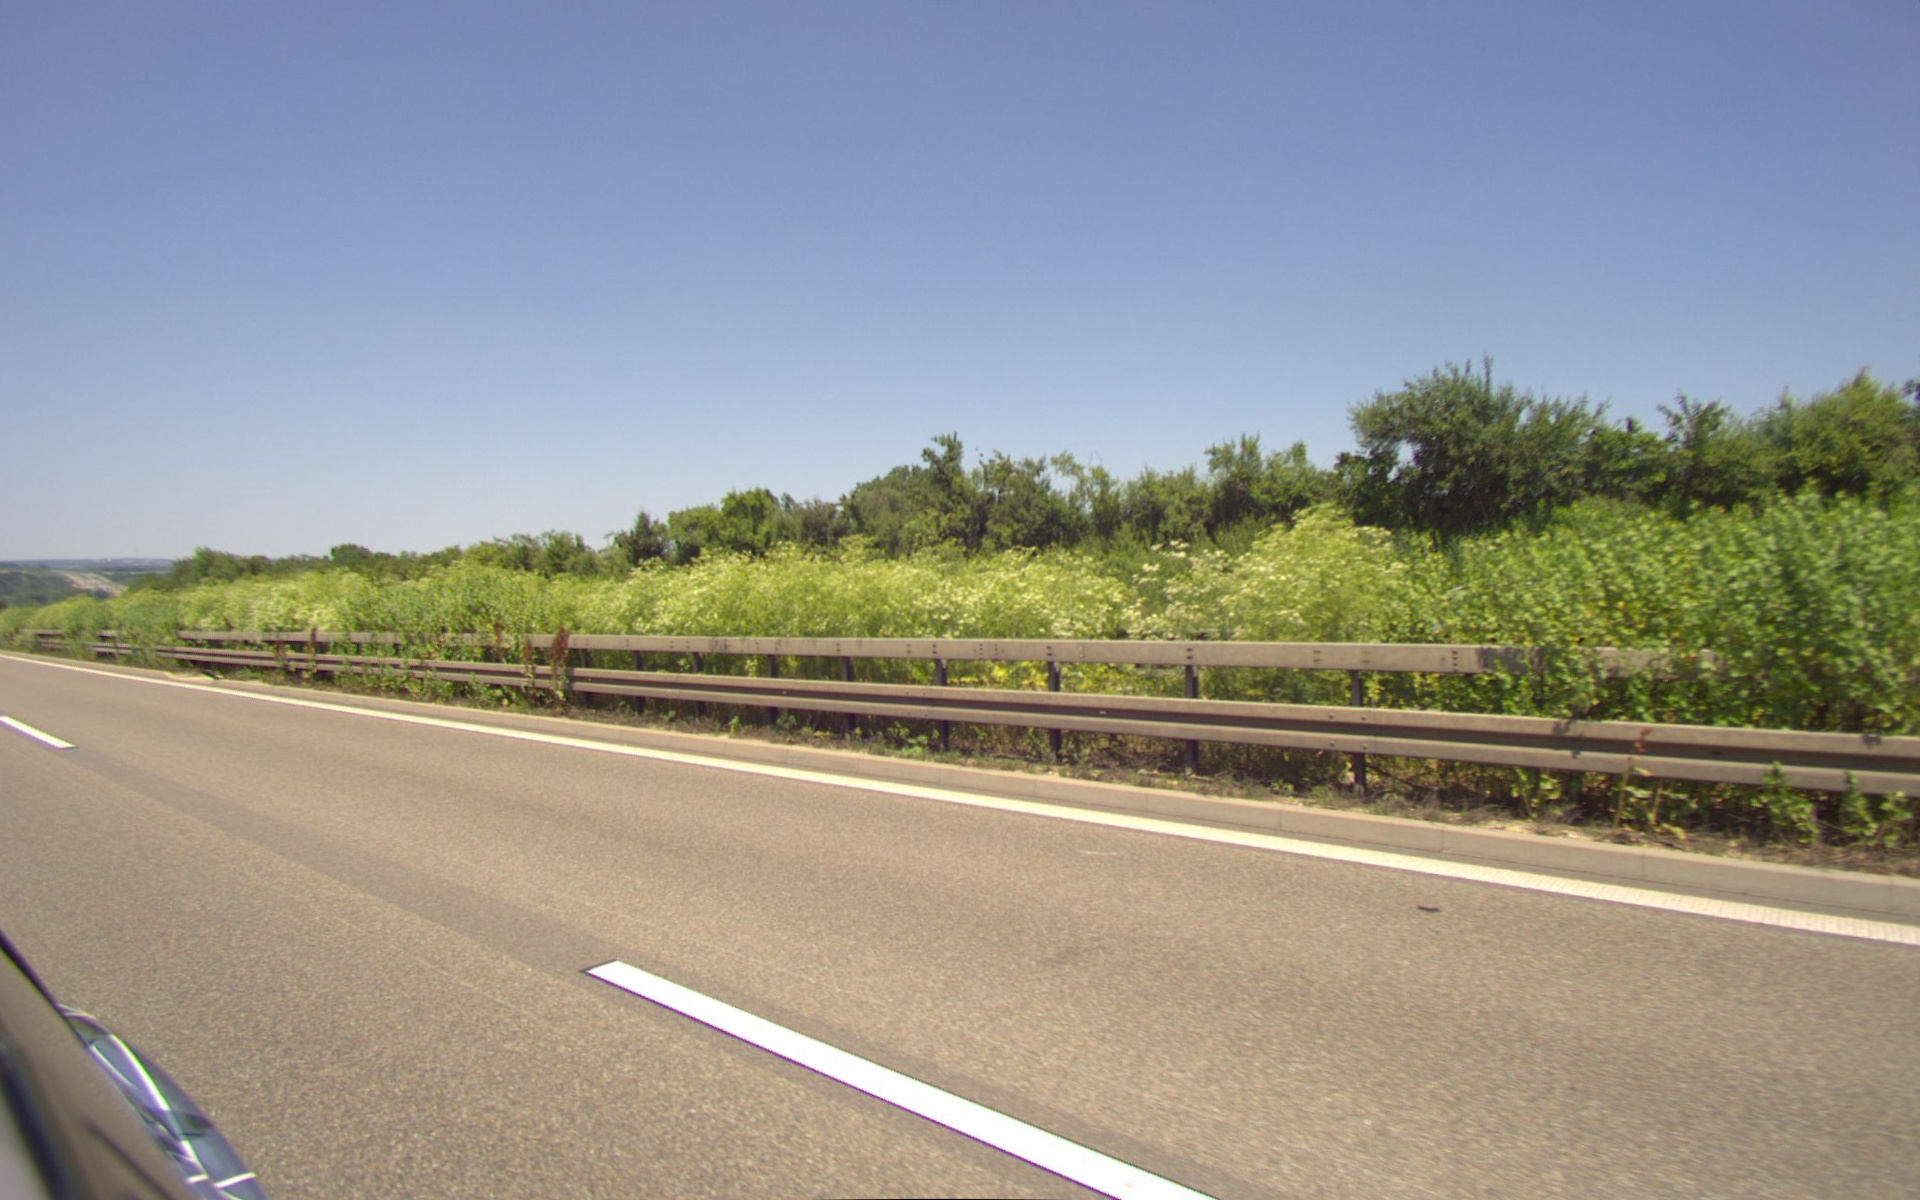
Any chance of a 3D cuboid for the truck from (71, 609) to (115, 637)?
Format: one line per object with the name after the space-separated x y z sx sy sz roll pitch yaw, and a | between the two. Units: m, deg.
-118.584 3.181 138.318 17.038 3.545 2.645 -2 -1 43 | truck
